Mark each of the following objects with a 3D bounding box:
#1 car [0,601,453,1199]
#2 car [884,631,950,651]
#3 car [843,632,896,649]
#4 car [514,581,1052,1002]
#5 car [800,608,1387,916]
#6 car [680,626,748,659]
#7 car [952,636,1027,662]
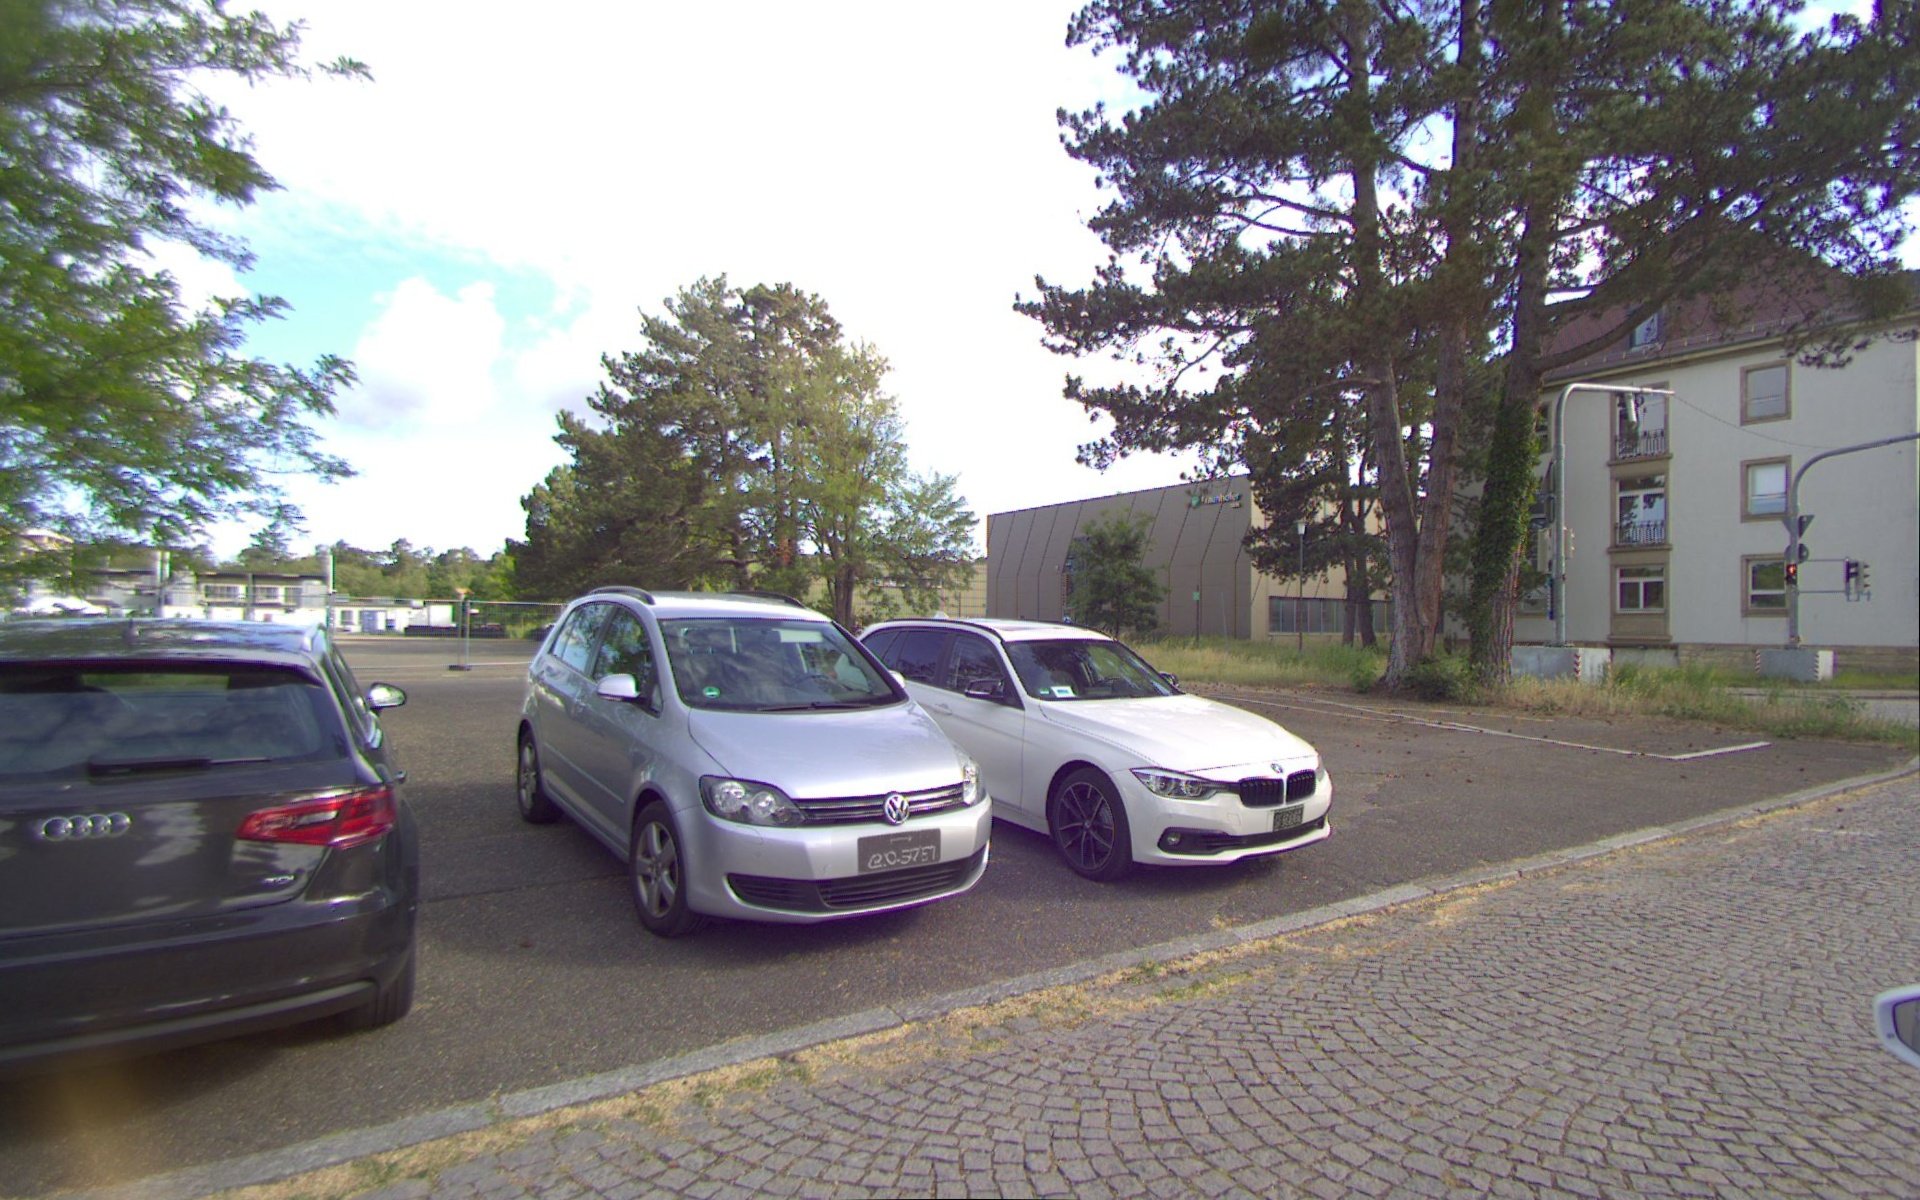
[{"bbox_3d":[-3.320,0.791,4.266,1.677,1.427,3.813,1,1,-33],"label":"car"},{"bbox_3d":[-2.825,2.712,66.730,4.147,1.289,1.598,1,-2,-30],"label":"car"},{"bbox_3d":[-6.546,2.944,73.068,3.623,1.217,1.319,1,-2,-30],"label":"car"},{"bbox_3d":[-1.346,0.743,6.021,1.718,1.628,3.806,1,1,-35],"label":"car"},{"bbox_3d":[0.627,0.874,7.547,1.812,1.461,4.447,1,1,-36],"label":"car"},{"bbox_3d":[-10.840,1.846,44.176,1.577,1.355,3.703,2,-2,-37],"label":"car"},{"bbox_3d":[1.739,2.840,58.804,4.082,1.433,1.750,1,-2,-30],"label":"car"}]
